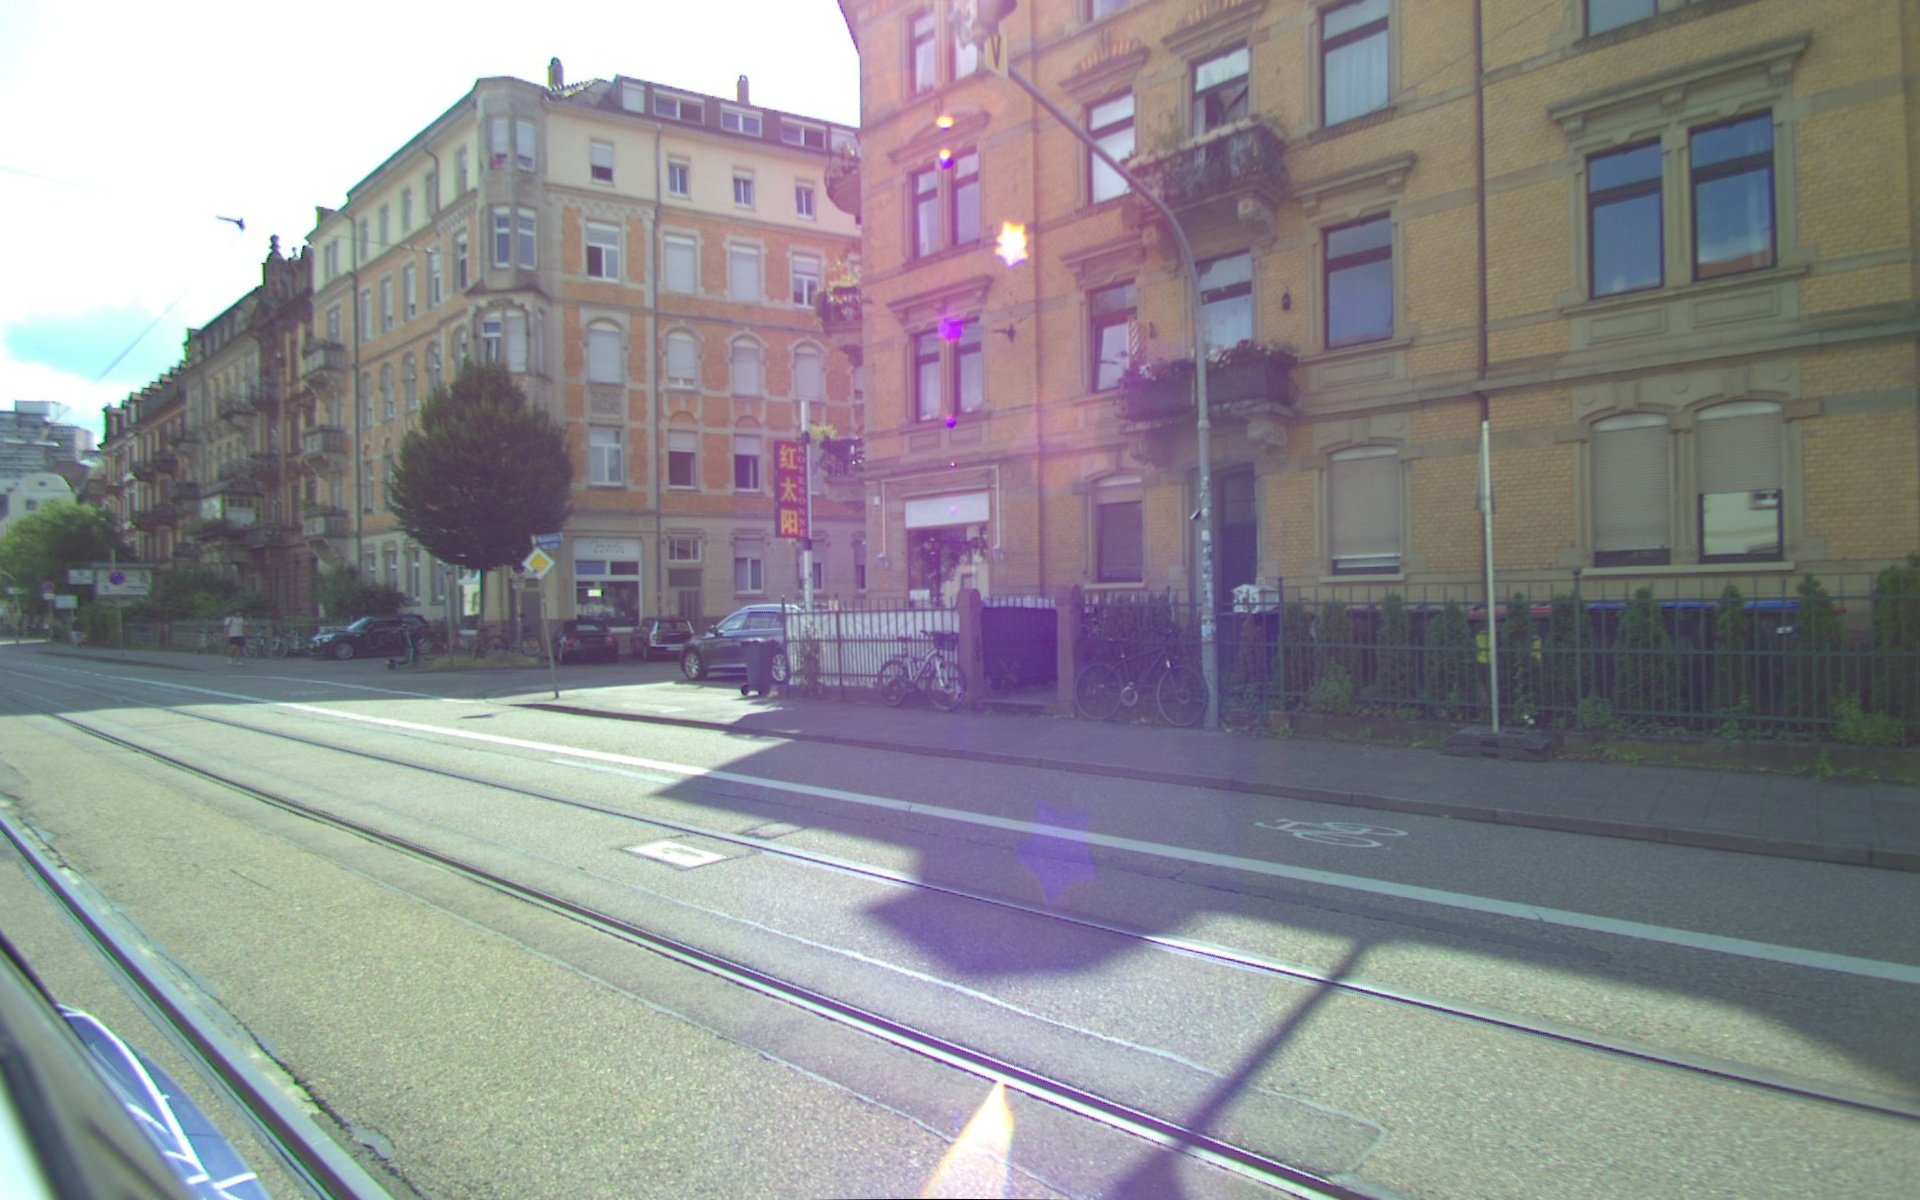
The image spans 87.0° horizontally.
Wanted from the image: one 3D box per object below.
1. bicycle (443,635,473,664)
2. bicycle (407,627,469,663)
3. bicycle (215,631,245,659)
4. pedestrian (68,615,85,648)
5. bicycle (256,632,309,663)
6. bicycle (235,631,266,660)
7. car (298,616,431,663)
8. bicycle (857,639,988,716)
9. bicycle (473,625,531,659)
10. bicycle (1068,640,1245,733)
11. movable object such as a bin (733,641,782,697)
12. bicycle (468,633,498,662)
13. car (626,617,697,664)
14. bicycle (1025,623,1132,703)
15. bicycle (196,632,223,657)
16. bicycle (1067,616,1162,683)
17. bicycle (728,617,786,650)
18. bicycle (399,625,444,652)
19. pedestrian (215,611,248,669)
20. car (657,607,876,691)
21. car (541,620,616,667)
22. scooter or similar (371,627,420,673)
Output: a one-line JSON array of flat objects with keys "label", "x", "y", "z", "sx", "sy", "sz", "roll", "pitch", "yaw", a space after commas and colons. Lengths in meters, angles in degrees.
[{"label": "bicycle", "x": -15.418, "y": 1.505, "z": 31.072, "sx": 0.516, "sy": 0.844, "sz": 1.702, "roll": -1, "pitch": -1, "yaw": -36}, {"label": "bicycle", "x": -16.721, "y": 1.430, "z": 32.451, "sx": 0.523, "sy": 1.071, "sz": 1.738, "roll": -2, "pitch": -1, "yaw": 35}, {"label": "bicycle", "x": -26.614, "y": 1.617, "z": 36.883, "sx": 1.948, "sy": 0.984, "sz": 0.417, "roll": -2, "pitch": -1, "yaw": 41}, {"label": "pedestrian", "x": -47.560, "y": 1.701, "z": 54.456, "sx": 1.150, "sy": 1.716, "sz": 0.483, "roll": -2, "pitch": -1, "yaw": 39}, {"label": "bicycle", "x": -22.861, "y": 1.597, "z": 34.171, "sx": 0.404, "sy": 0.984, "sz": 1.438, "roll": -2, "pitch": -1, "yaw": 40}, {"label": "bicycle", "x": -24.901, "y": 1.584, "z": 35.525, "sx": 1.948, "sy": 0.984, "sz": 0.417, "roll": -2, "pitch": -1, "yaw": 41}, {"label": "car", "x": -20.354, "y": 1.319, "z": 34.667, "sx": 1.787, "sy": 1.413, "sz": 3.562, "roll": -2, "pitch": 0, "yaw": 45}, {"label": "bicycle", "x": -0.541, "y": 1.027, "z": 13.858, "sx": 1.967, "sy": 0.954, "sz": 0.524, "roll": -2, "pitch": -1, "yaw": 41}, {"label": "bicycle", "x": -15.153, "y": 1.384, "z": 33.520, "sx": 1.671, "sy": 1.071, "sz": 0.525, "roll": -1, "pitch": -1, "yaw": -39}, {"label": "bicycle", "x": 2.192, "y": 0.941, "z": 11.509, "sx": 1.967, "sy": 0.954, "sz": 0.524, "roll": -2, "pitch": -1, "yaw": 41}, {"label": "movable object such as a bin", "x": -3.428, "y": 1.159, "z": 17.116, "sx": 0.635, "sy": 0.912, "sz": 0.520, "roll": -2, "pitch": -1, "yaw": 39}, {"label": "bicycle", "x": -14.697, "y": 1.451, "z": 31.145, "sx": 0.516, "sy": 0.844, "sz": 1.702, "roll": -1, "pitch": -1, "yaw": -36}, {"label": "car", "x": -9.938, "y": 1.315, "z": 33.576, "sx": 1.616, "sy": 1.426, "sz": 3.800, "roll": -1, "pitch": -1, "yaw": -26}, {"label": "bicycle", "x": 1.607, "y": 0.800, "z": 13.457, "sx": 0.531, "sy": 0.954, "sz": 1.944, "roll": -1, "pitch": -1, "yaw": 36}, {"label": "bicycle", "x": -29.344, "y": 1.721, "z": 39.536, "sx": 1.948, "sy": 0.939, "sz": 0.417, "roll": -2, "pitch": -1, "yaw": 41}, {"label": "bicycle", "x": 2.446, "y": 0.749, "z": 15.845, "sx": 0.531, "sy": 0.954, "sz": 1.941, "roll": -2, "pitch": -1, "yaw": 40}, {"label": "bicycle", "x": -7.914, "y": 1.308, "z": 39.510, "sx": 2.144, "sy": 1.218, "sz": 0.626, "roll": -1, "pitch": -1, "yaw": -32}, {"label": "bicycle", "x": -20.238, "y": 1.438, "z": 38.027, "sx": 0.404, "sy": 0.984, "sz": 1.438, "roll": -2, "pitch": -1, "yaw": 40}, {"label": "pedestrian", "x": -22.976, "y": 1.256, "z": 31.929, "sx": 1.105, "sy": 1.773, "sz": 0.528, "roll": -2, "pitch": 1, "yaw": 41}, {"label": "car", "x": -3.926, "y": 0.918, "z": 20.023, "sx": 4.762, "sy": 1.470, "sz": 1.668, "roll": -2, "pitch": -1, "yaw": 41}, {"label": "car", "x": -12.292, "y": 1.372, "z": 32.484, "sx": 1.616, "sy": 1.370, "sz": 3.938, "roll": -1, "pitch": -1, "yaw": -30}, {"label": "scooter or similar", "x": -16.214, "y": 1.415, "z": 29.092, "sx": 0.400, "sy": 1.244, "sz": 1.360, "roll": -1, "pitch": 0, "yaw": 12}]
